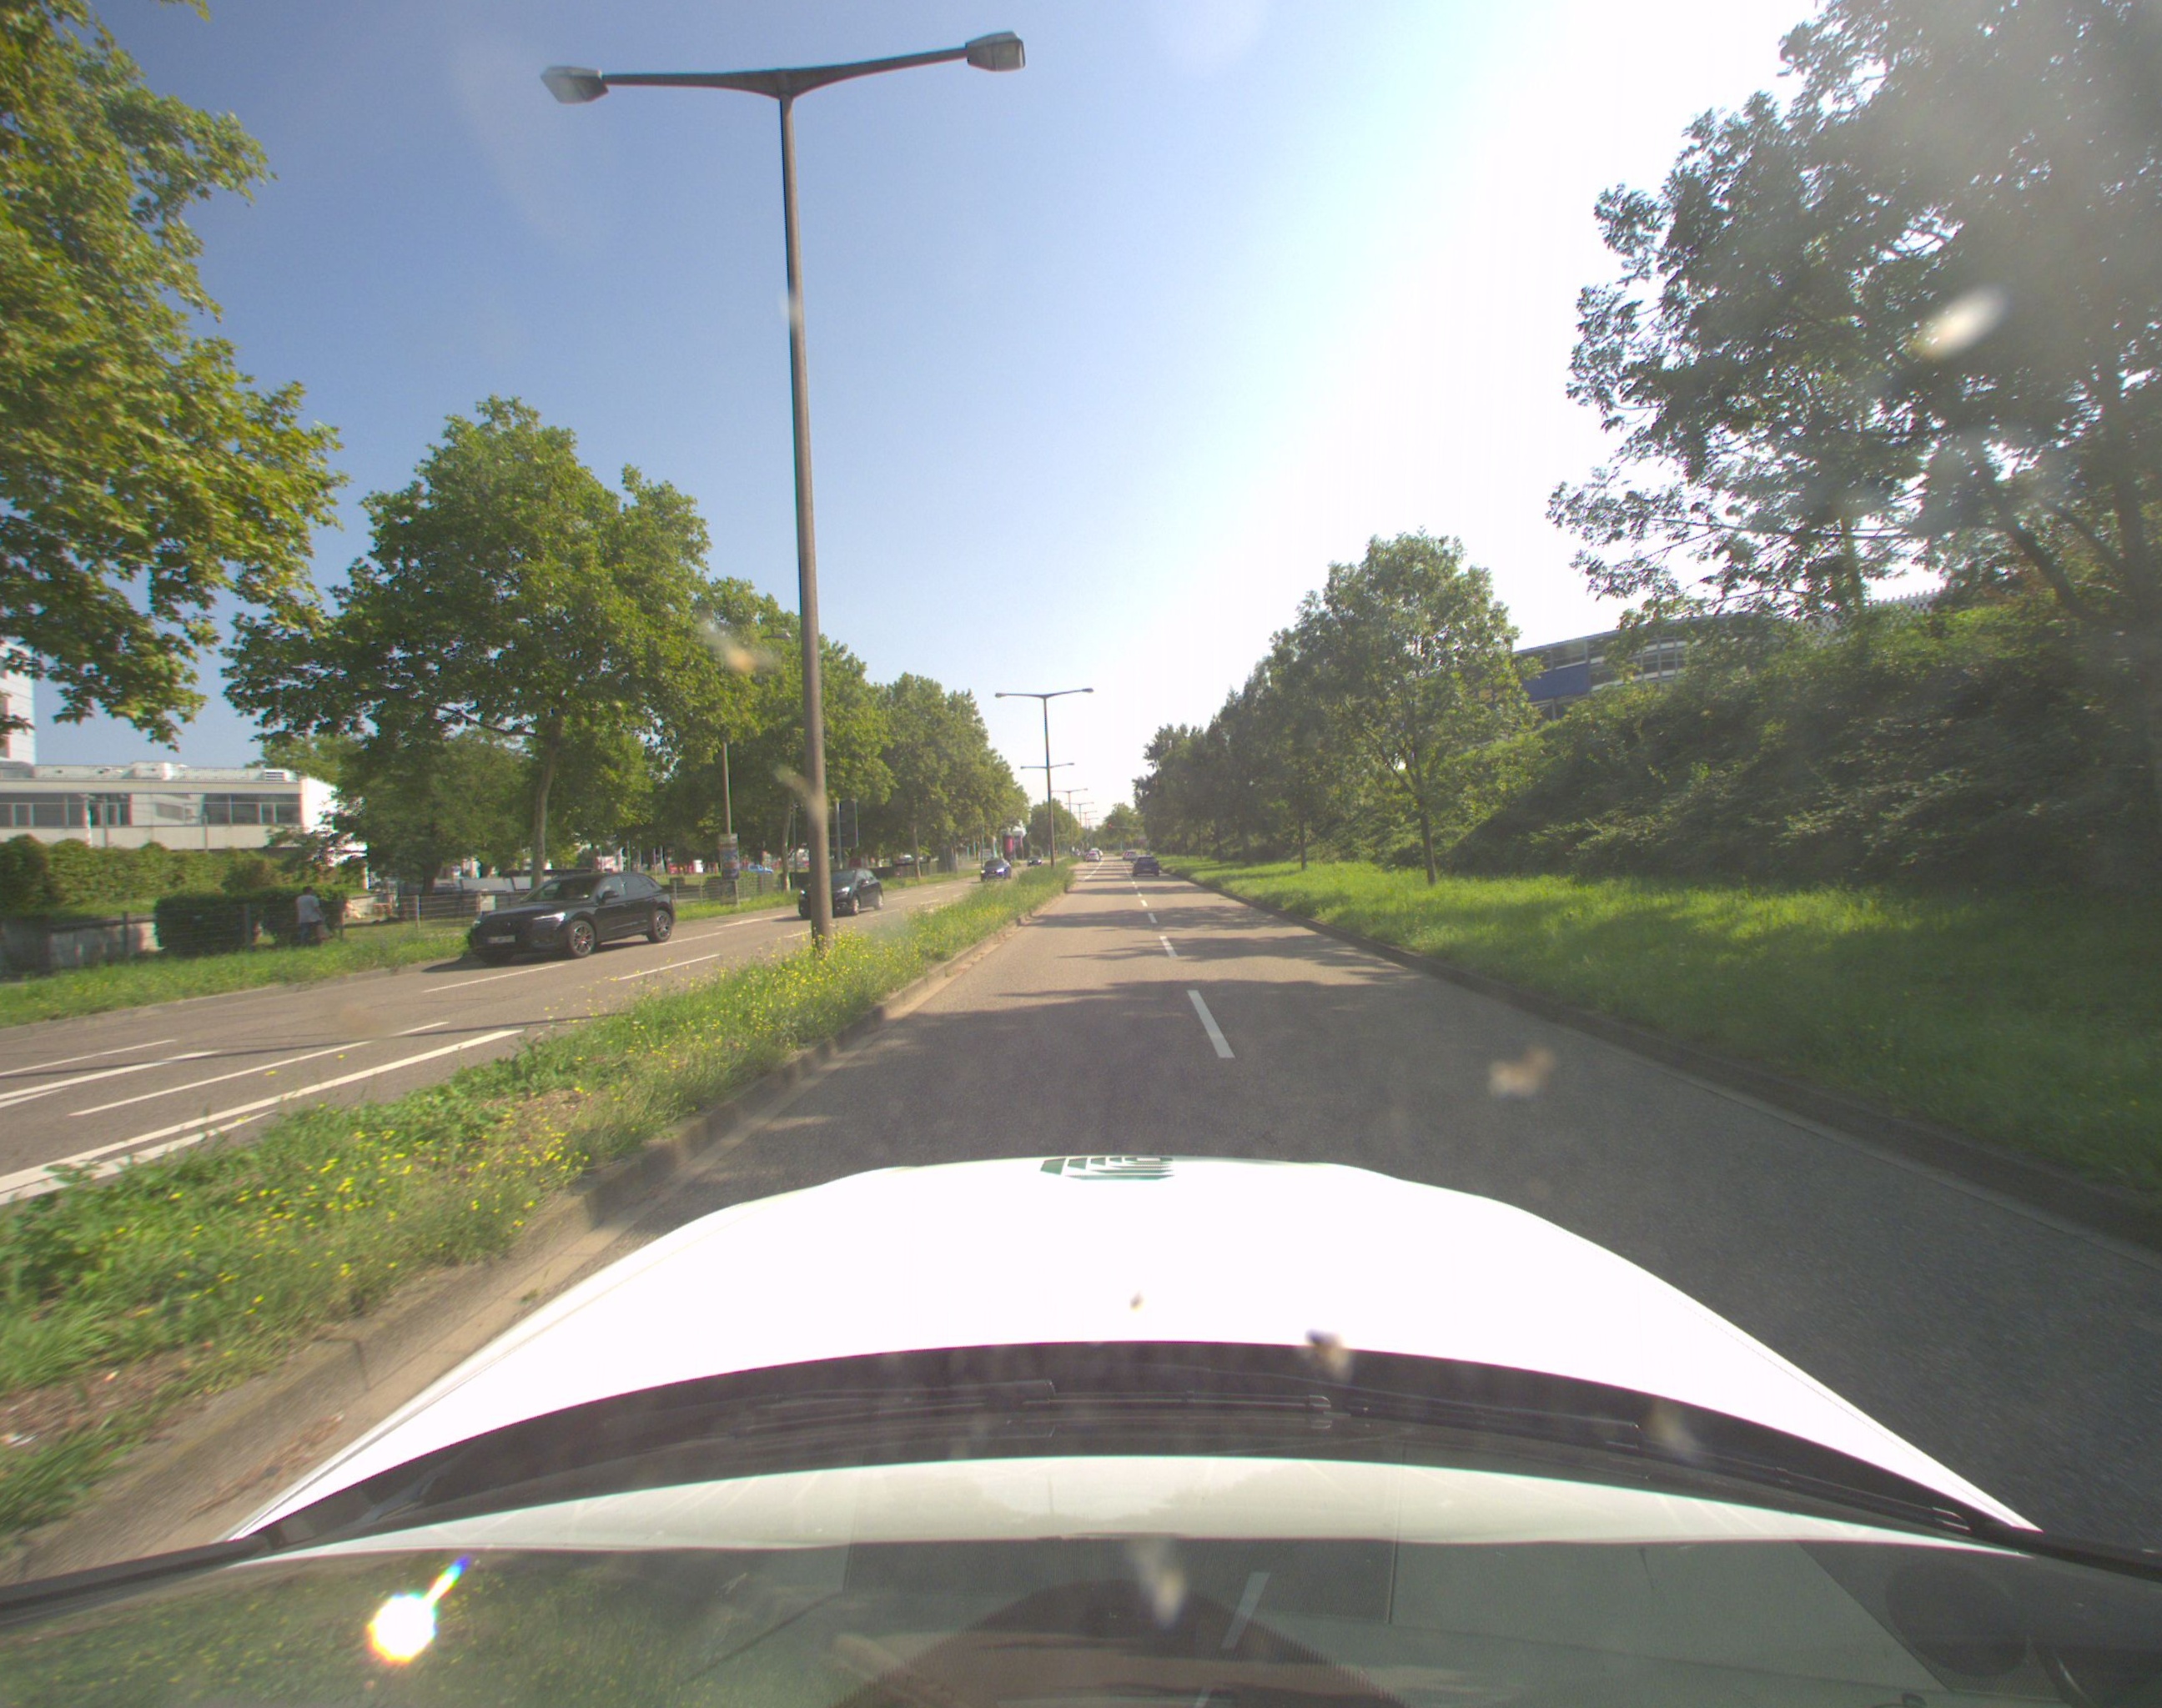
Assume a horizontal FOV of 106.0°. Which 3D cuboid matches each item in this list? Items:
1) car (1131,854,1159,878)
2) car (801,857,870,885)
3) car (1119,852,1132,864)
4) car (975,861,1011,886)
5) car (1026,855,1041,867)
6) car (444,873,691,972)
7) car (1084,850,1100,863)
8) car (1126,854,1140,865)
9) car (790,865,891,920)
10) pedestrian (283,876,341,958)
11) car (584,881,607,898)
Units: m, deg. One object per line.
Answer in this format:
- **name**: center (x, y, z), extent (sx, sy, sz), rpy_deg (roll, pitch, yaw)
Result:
- **car**: center (4.441, 0.798, 56.899), extent (1.773, 1.427, 4.003), rpy_deg (-1, 2, 2)
- **car**: center (-22.737, 1.590, 75.500), extent (5.565, 2.336, 2.279), rpy_deg (-1, 2, 0)
- **car**: center (7.674, 0.671, 140.531), extent (1.987, 1.653, 4.002), rpy_deg (-2, 3, 1)
- **car**: center (-6.248, 1.340, 58.225), extent (1.987, 1.585, 4.346), rpy_deg (-4, 0, 0)
- **car**: center (-6.762, 0.993, 115.806), extent (1.789, 1.417, 4.409), rpy_deg (-4, -1, 0)
- **car**: center (-10.423, 1.293, 17.055), extent (1.837, 1.605, 4.617), rpy_deg (-5, -1, 5)
- **car**: center (1.580, 0.341, 118.666), extent (1.984, 1.702, 4.005), rpy_deg (-3, -1, 4)
- **car**: center (7.954, 0.840, 124.534), extent (1.986, 1.654, 4.002), rpy_deg (-3, -1, 2)
- **car**: center (-7.574, 1.170, 26.102), extent (1.698, 1.490, 4.316), rpy_deg (-3, 0, 3)
- **pedestrian**: center (-20.764, 1.665, 21.989), extent (1.252, 2.013, 1.022), rpy_deg (1, 3, 45)
- **car**: center (-51.868, 3.752, 86.976), extent (1.940, 1.452, 3.959), rpy_deg (-3, 3, -33)
